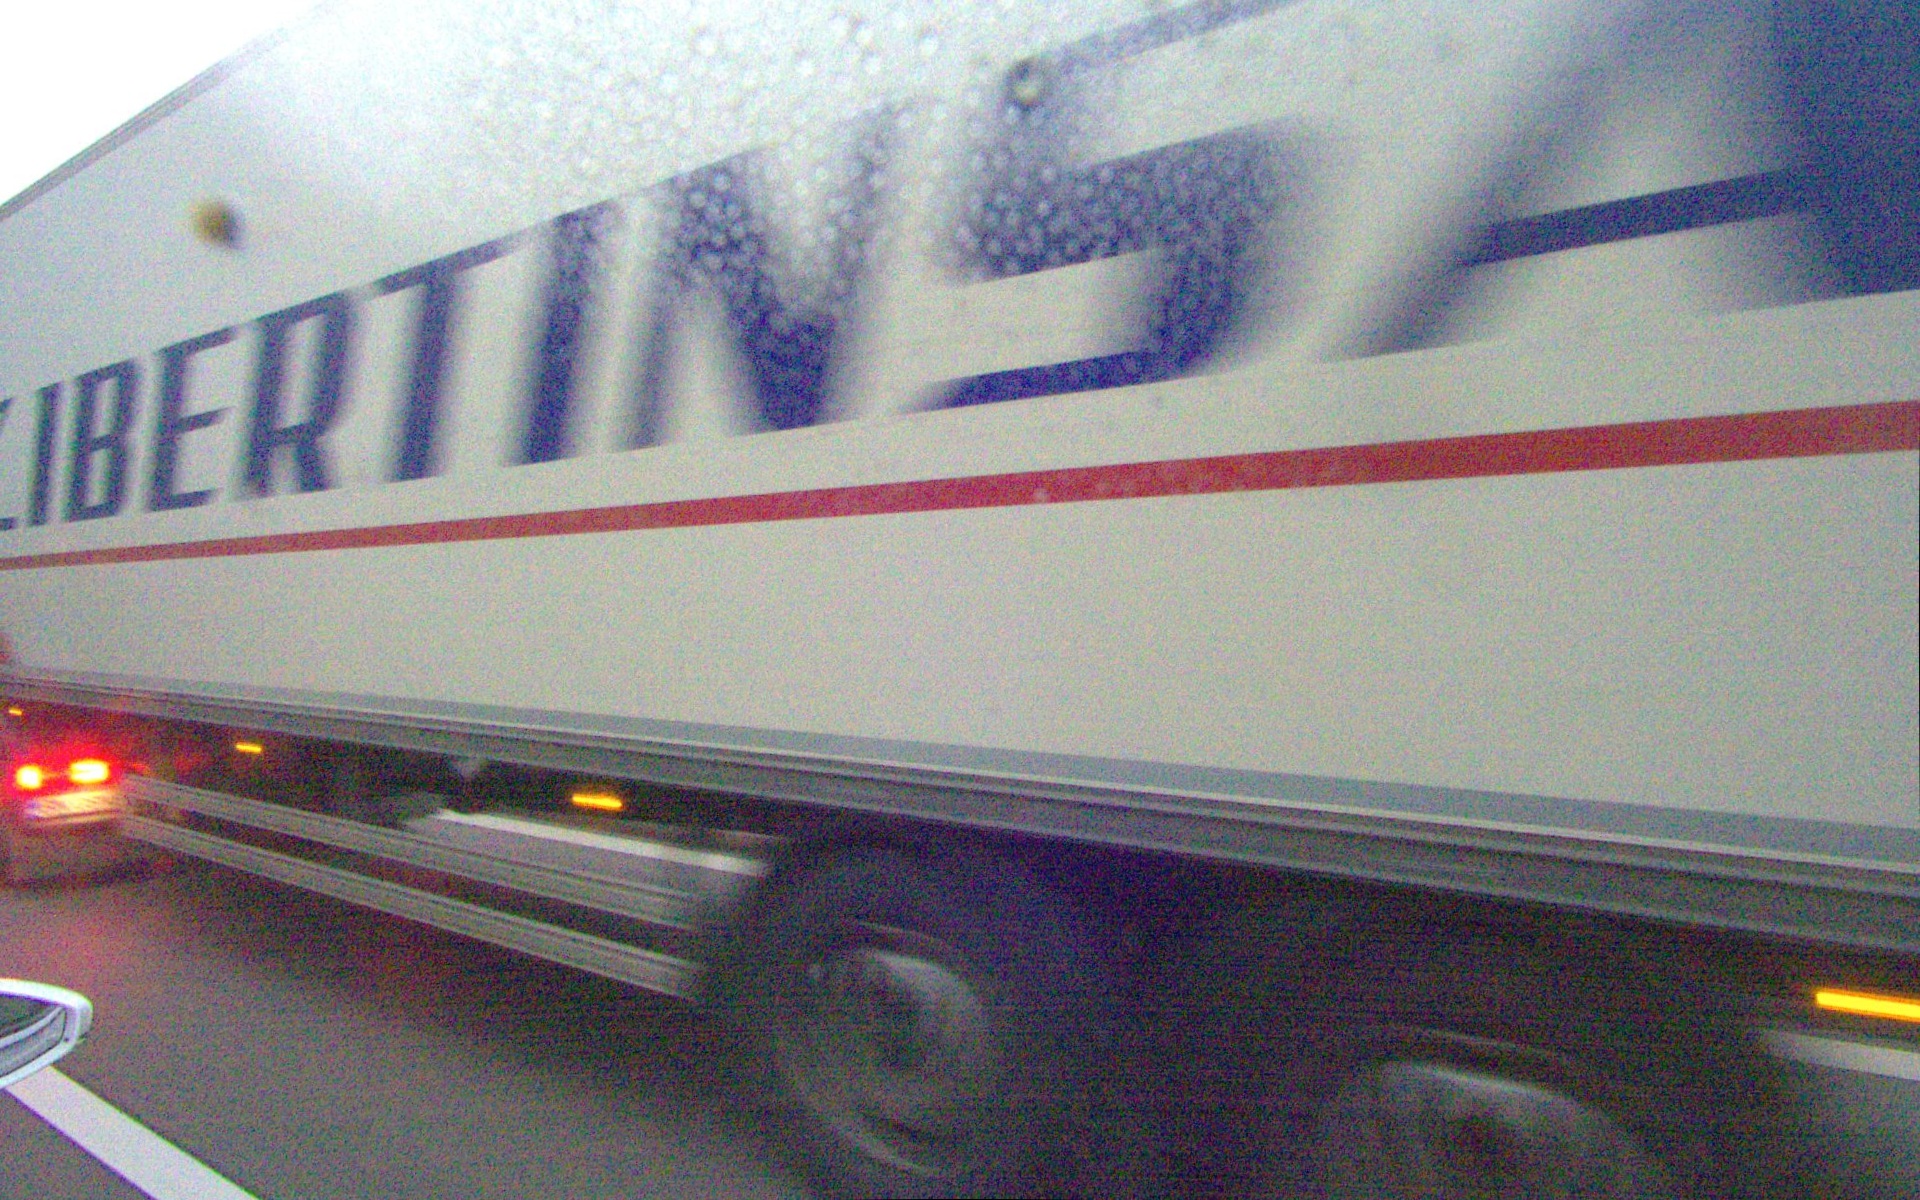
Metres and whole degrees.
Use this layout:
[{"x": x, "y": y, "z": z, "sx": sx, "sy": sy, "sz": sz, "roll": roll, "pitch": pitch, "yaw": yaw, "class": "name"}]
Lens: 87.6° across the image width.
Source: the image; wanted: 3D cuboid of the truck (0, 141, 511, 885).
[{"x": -7.193, "y": -0.358, "z": 8.658, "sx": 6.358, "sy": 4.196, "sz": 3.064, "roll": -1, "pitch": -3, "yaw": 34, "class": "truck"}]

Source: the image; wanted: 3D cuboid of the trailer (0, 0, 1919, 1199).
[{"x": -1.814, "y": -0.403, "z": 5.112, "sx": 14.010, "sy": 4.022, "sz": 3.092, "roll": -1, "pitch": 0, "yaw": 31, "class": "trailer"}]
